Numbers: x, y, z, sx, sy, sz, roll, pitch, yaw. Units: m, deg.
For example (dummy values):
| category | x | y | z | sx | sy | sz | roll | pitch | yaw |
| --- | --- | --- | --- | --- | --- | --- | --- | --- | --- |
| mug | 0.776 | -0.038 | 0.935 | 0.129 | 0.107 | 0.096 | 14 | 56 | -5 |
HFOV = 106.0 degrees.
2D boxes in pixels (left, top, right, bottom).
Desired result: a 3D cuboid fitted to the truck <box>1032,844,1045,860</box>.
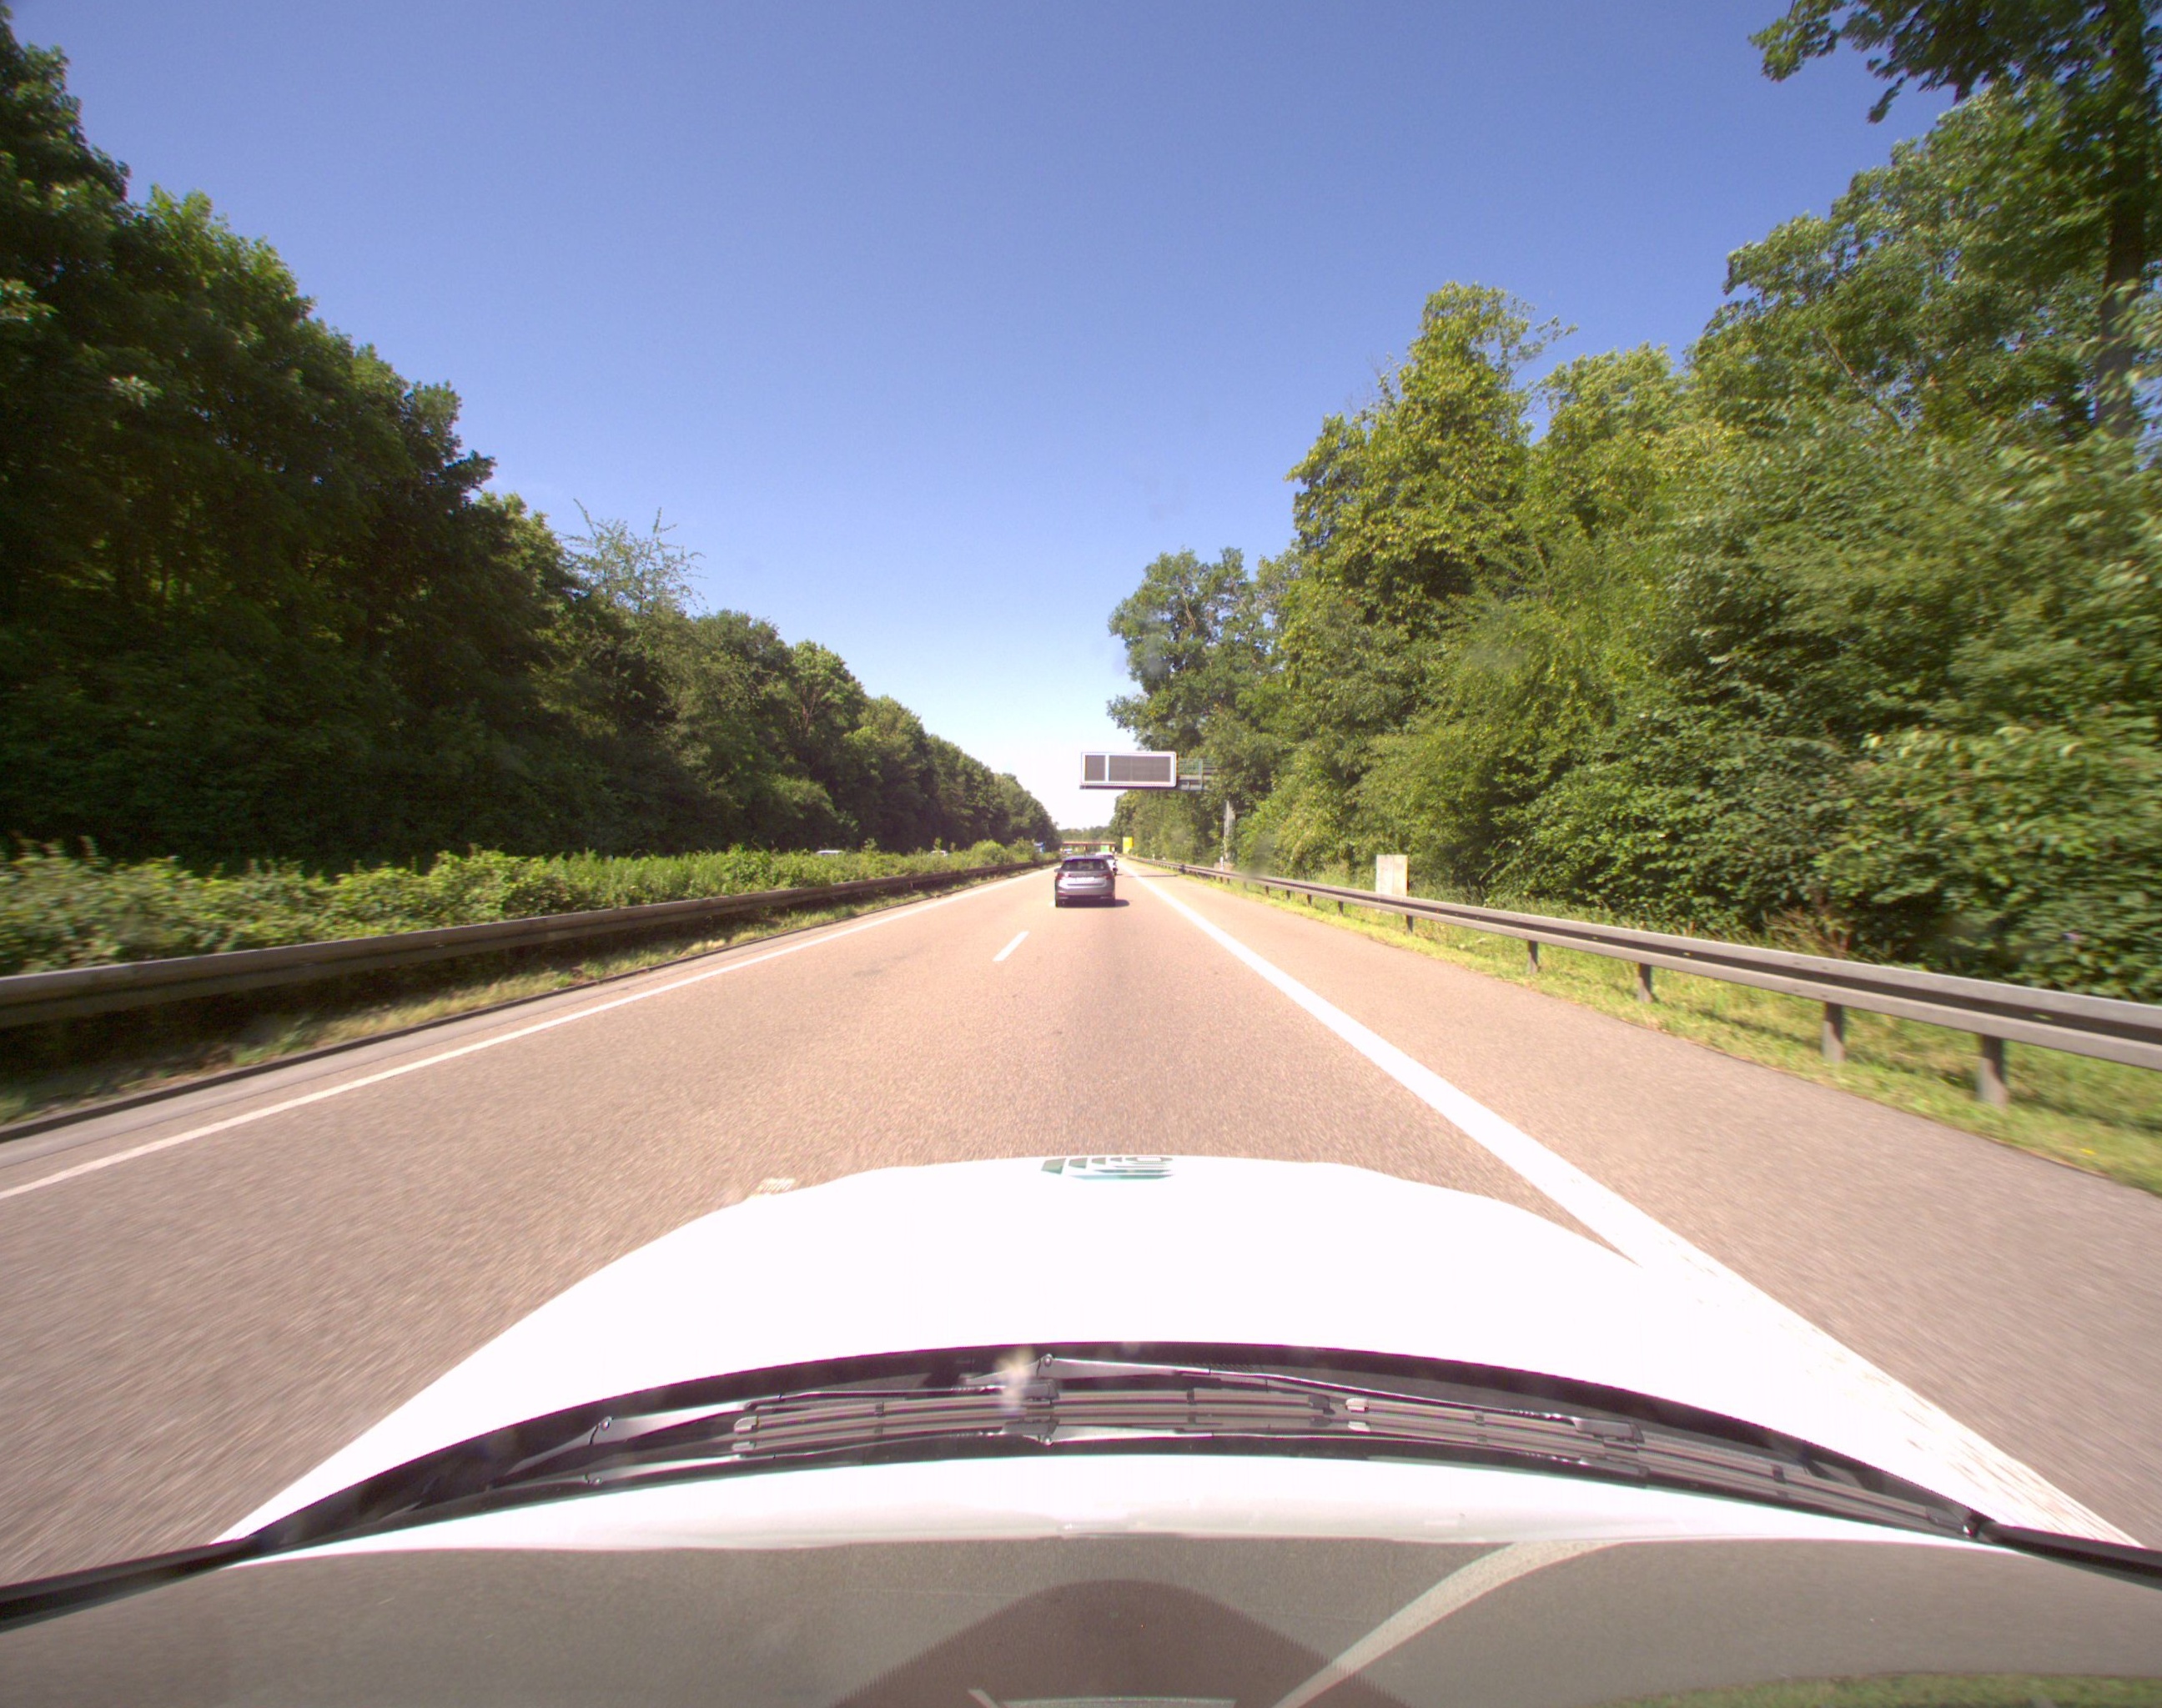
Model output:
| category | x | y | z | sx | sy | sz | roll | pitch | yaw |
| --- | --- | --- | --- | --- | --- | --- | --- | --- | --- |
| truck | -10.097 | -0.464 | 194.226 | 2.636 | 3.706 | 4.002 | -1 | 0 | 2 |

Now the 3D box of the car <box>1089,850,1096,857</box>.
| category | x | y | z | sx | sy | sz | roll | pitch | yaw |
| --- | --- | --- | --- | --- | --- | --- | --- | --- | --- |
| car | 3.101 | -0.118 | 220.610 | 1.986 | 2.014 | 4.002 | -1 | 0 | 2 |

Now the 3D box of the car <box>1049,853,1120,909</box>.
| category | x | y | z | sx | sy | sz | roll | pitch | yaw |
| --- | --- | --- | --- | --- | --- | --- | --- | --- | --- |
| car | 0.175 | 0.726 | 23.606 | 1.832 | 1.472 | 3.627 | -1 | 0 | 3 |

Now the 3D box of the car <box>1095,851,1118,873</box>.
| category | x | y | z | sx | sy | sz | roll | pitch | yaw |
| --- | --- | --- | --- | --- | --- | --- | --- | --- | --- |
| car | 1.776 | 0.526 | 55.978 | 1.516 | 1.446 | 3.343 | -1 | 0 | 3 |

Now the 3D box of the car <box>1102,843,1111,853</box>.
| category | x | y | z | sx | sy | sz | roll | pitch | yaw |
| --- | --- | --- | --- | --- | --- | --- | --- | --- | --- |
| car | 7.694 | -1.797 | 245.439 | 2.738 | 2.654 | 4.002 | -1 | 0 | 2 |

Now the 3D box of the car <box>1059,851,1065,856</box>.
| category | x | y | z | sx | sy | sz | roll | pitch | yaw |
| --- | --- | --- | --- | --- | --- | --- | --- | --- | --- |
| car | -5.914 | -0.264 | 256.269 | 1.665 | 1.473 | 3.626 | -1 | 0 | 3 |

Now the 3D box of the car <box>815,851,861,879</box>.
| category | x | y | z | sx | sy | sz | roll | pitch | yaw |
| --- | --- | --- | --- | --- | --- | --- | --- | --- | --- |
| car | -13.959 | 0.625 | 46.965 | 1.543 | 1.566 | 3.385 | -1 | 0 | 1 |
